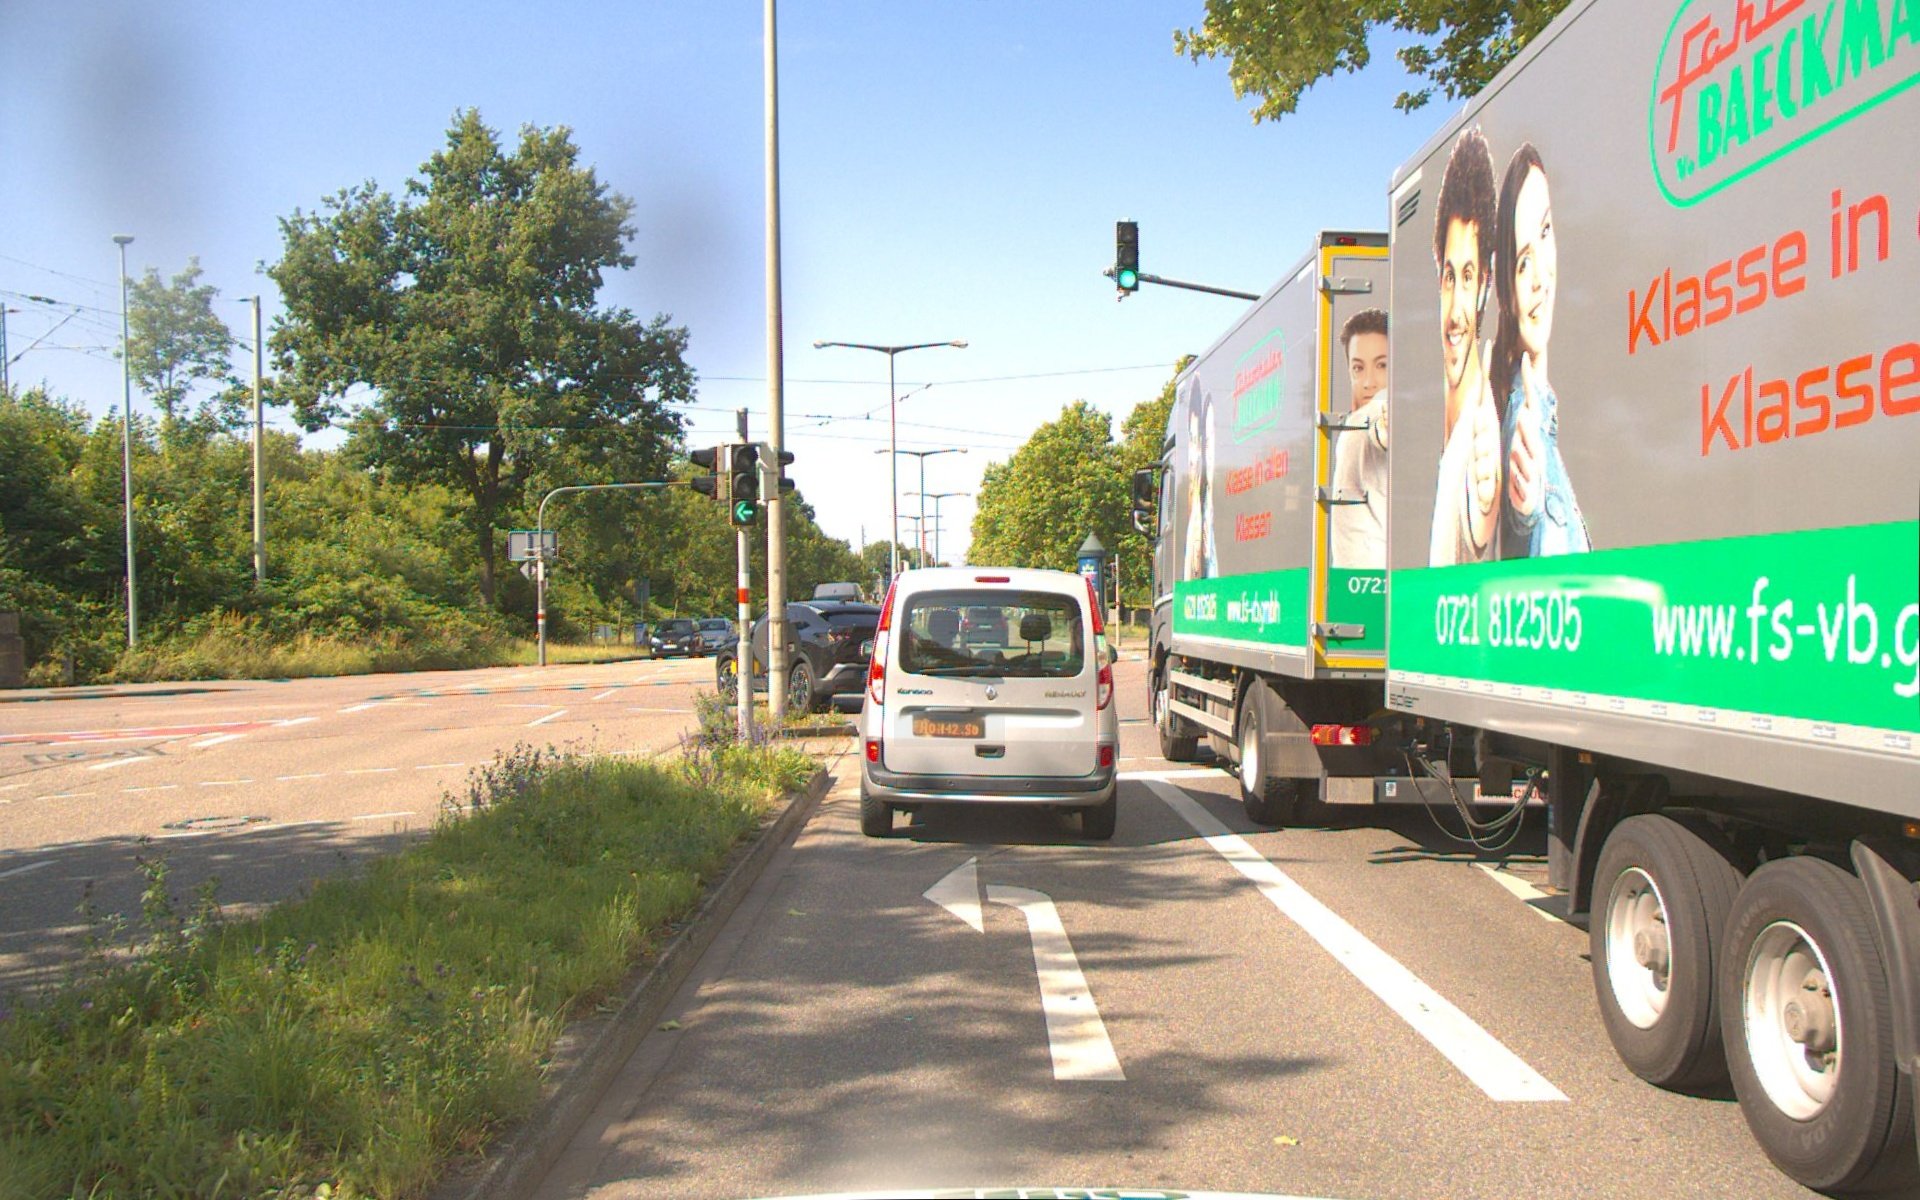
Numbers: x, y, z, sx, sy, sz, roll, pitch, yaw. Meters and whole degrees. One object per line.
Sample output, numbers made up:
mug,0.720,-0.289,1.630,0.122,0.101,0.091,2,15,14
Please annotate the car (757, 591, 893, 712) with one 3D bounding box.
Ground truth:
car,-2.042,0.736,26.024,1.892,1.691,4.227,-1,0,-2

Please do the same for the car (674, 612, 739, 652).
car,-10.402,1.301,68.185,1.952,1.567,4.236,-1,-1,1

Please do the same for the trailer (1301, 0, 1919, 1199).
trailer,3.363,-0.470,5.852,2.680,3.945,7.734,-1,-1,0

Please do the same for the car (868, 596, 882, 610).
car,-12.845,0.470,250.757,1.849,2.049,4.000,1,-1,0

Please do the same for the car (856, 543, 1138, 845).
car,0.176,0.619,12.429,1.750,1.870,3.998,1,-1,-2

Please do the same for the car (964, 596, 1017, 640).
car,1.192,0.717,64.461,1.952,1.613,4.456,1,-1,1

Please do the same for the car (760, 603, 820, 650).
car,-7.255,1.134,70.943,1.952,1.903,4.774,-1,-1,1

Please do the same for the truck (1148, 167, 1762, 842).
truck,3.399,-0.512,14.087,2.673,3.958,8.722,0,-1,1

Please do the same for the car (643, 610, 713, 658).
car,-10.337,1.234,60.887,1.872,1.670,3.737,-1,-1,1
